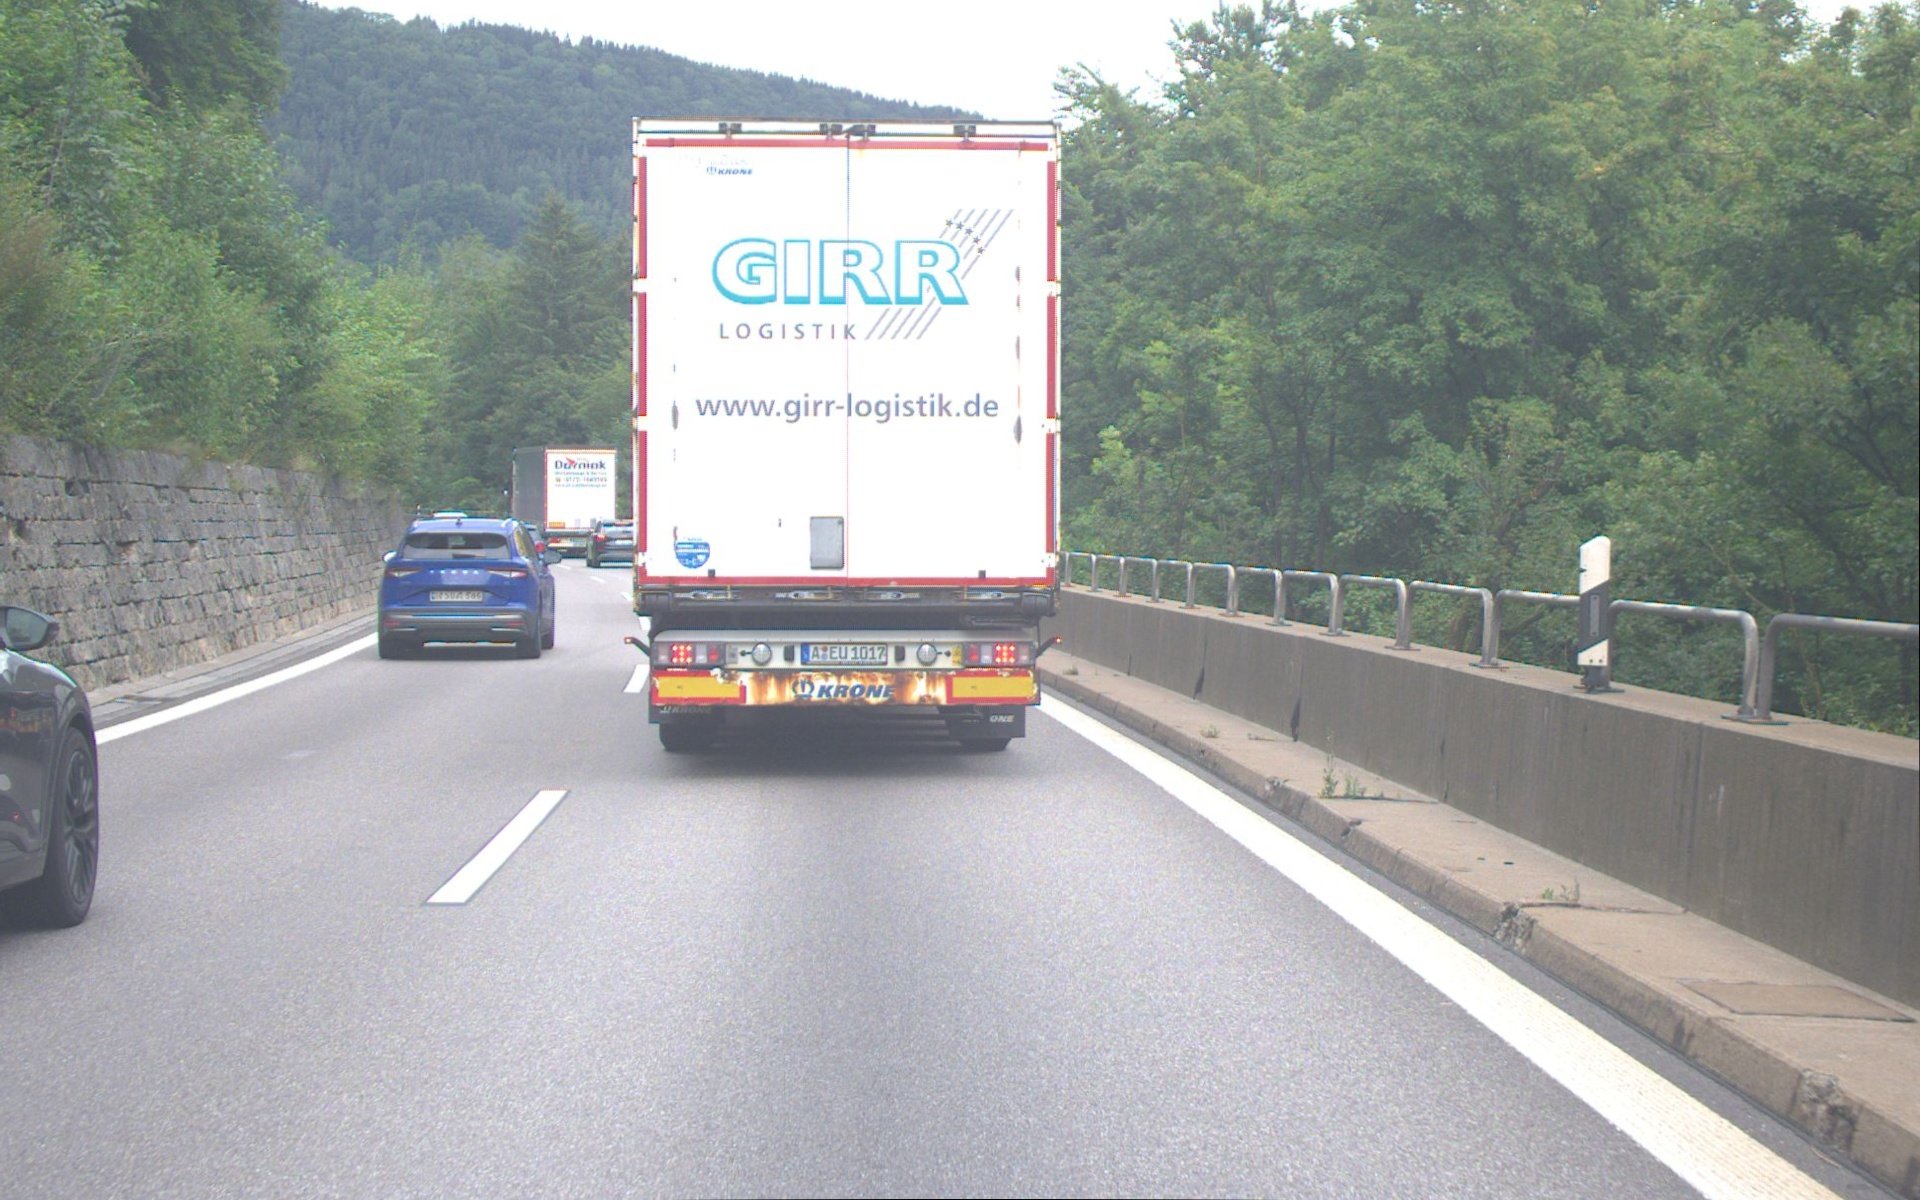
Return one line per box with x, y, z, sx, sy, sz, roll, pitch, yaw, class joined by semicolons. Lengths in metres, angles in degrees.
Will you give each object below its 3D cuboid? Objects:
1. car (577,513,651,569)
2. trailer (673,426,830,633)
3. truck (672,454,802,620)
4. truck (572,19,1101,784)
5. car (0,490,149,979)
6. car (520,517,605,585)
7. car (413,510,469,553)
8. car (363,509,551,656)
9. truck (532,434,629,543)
-10.572;-1.805;104.755;2.060;1.648;4.001;0;1;-8;car
-3.574;-1.154;56.897;2.211;3.037;11.141;1;1;-5;trailer
-4.092;-1.143;62.470;2.208;2.841;5.005;1;1;-5;truck
-1.123;-1.314;27.656;3.084;4.448;15.158;0;1;-3;truck
-4.194;0.454;11.334;1.993;1.626;5.009;0;1;-2;car
-9.842;-1.233;84.960;1.993;1.590;4.355;1;1;-7;car
-19.962;-2.644;132.037;1.896;1.545;4.251;1;1;-11;car
-5.875;-0.246;40.658;1.993;1.626;5.009;0;1;-6;car
-14.127;-4.051;127.130;2.633;3.844;12.363;0;1;-11;truck
